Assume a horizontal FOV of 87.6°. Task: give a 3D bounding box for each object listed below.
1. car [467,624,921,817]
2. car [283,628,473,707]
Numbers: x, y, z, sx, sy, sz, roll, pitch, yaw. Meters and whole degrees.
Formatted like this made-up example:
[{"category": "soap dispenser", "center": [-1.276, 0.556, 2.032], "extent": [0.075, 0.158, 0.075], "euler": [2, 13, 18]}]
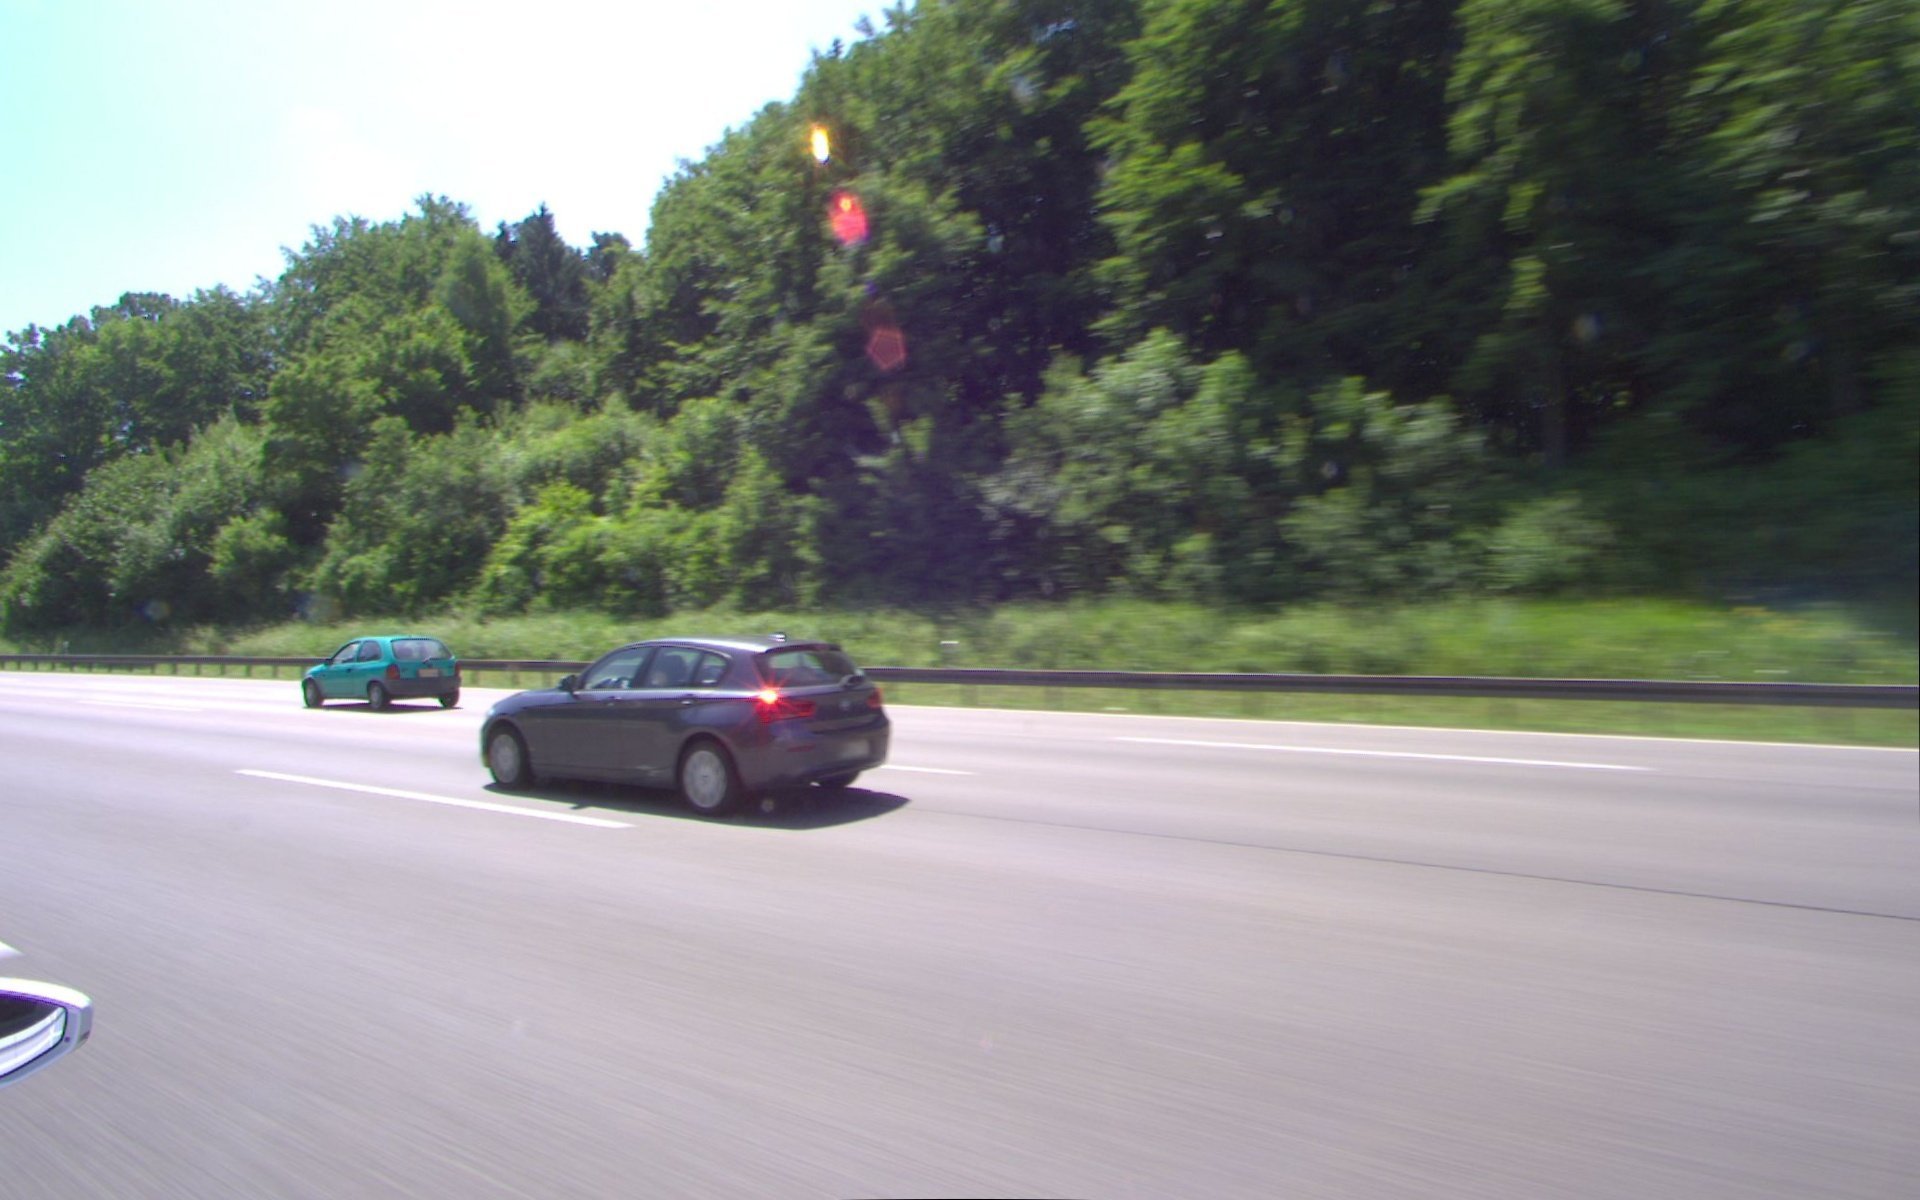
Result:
[{"category": "car", "center": [-2.520, 0.947, 9.171], "extent": [4.094, 1.414, 1.699], "euler": [-1, -2, 32]}, {"category": "car", "center": [-11.899, 1.320, 20.385], "extent": [4.279, 1.462, 1.542], "euler": [-1, -2, 32]}]
